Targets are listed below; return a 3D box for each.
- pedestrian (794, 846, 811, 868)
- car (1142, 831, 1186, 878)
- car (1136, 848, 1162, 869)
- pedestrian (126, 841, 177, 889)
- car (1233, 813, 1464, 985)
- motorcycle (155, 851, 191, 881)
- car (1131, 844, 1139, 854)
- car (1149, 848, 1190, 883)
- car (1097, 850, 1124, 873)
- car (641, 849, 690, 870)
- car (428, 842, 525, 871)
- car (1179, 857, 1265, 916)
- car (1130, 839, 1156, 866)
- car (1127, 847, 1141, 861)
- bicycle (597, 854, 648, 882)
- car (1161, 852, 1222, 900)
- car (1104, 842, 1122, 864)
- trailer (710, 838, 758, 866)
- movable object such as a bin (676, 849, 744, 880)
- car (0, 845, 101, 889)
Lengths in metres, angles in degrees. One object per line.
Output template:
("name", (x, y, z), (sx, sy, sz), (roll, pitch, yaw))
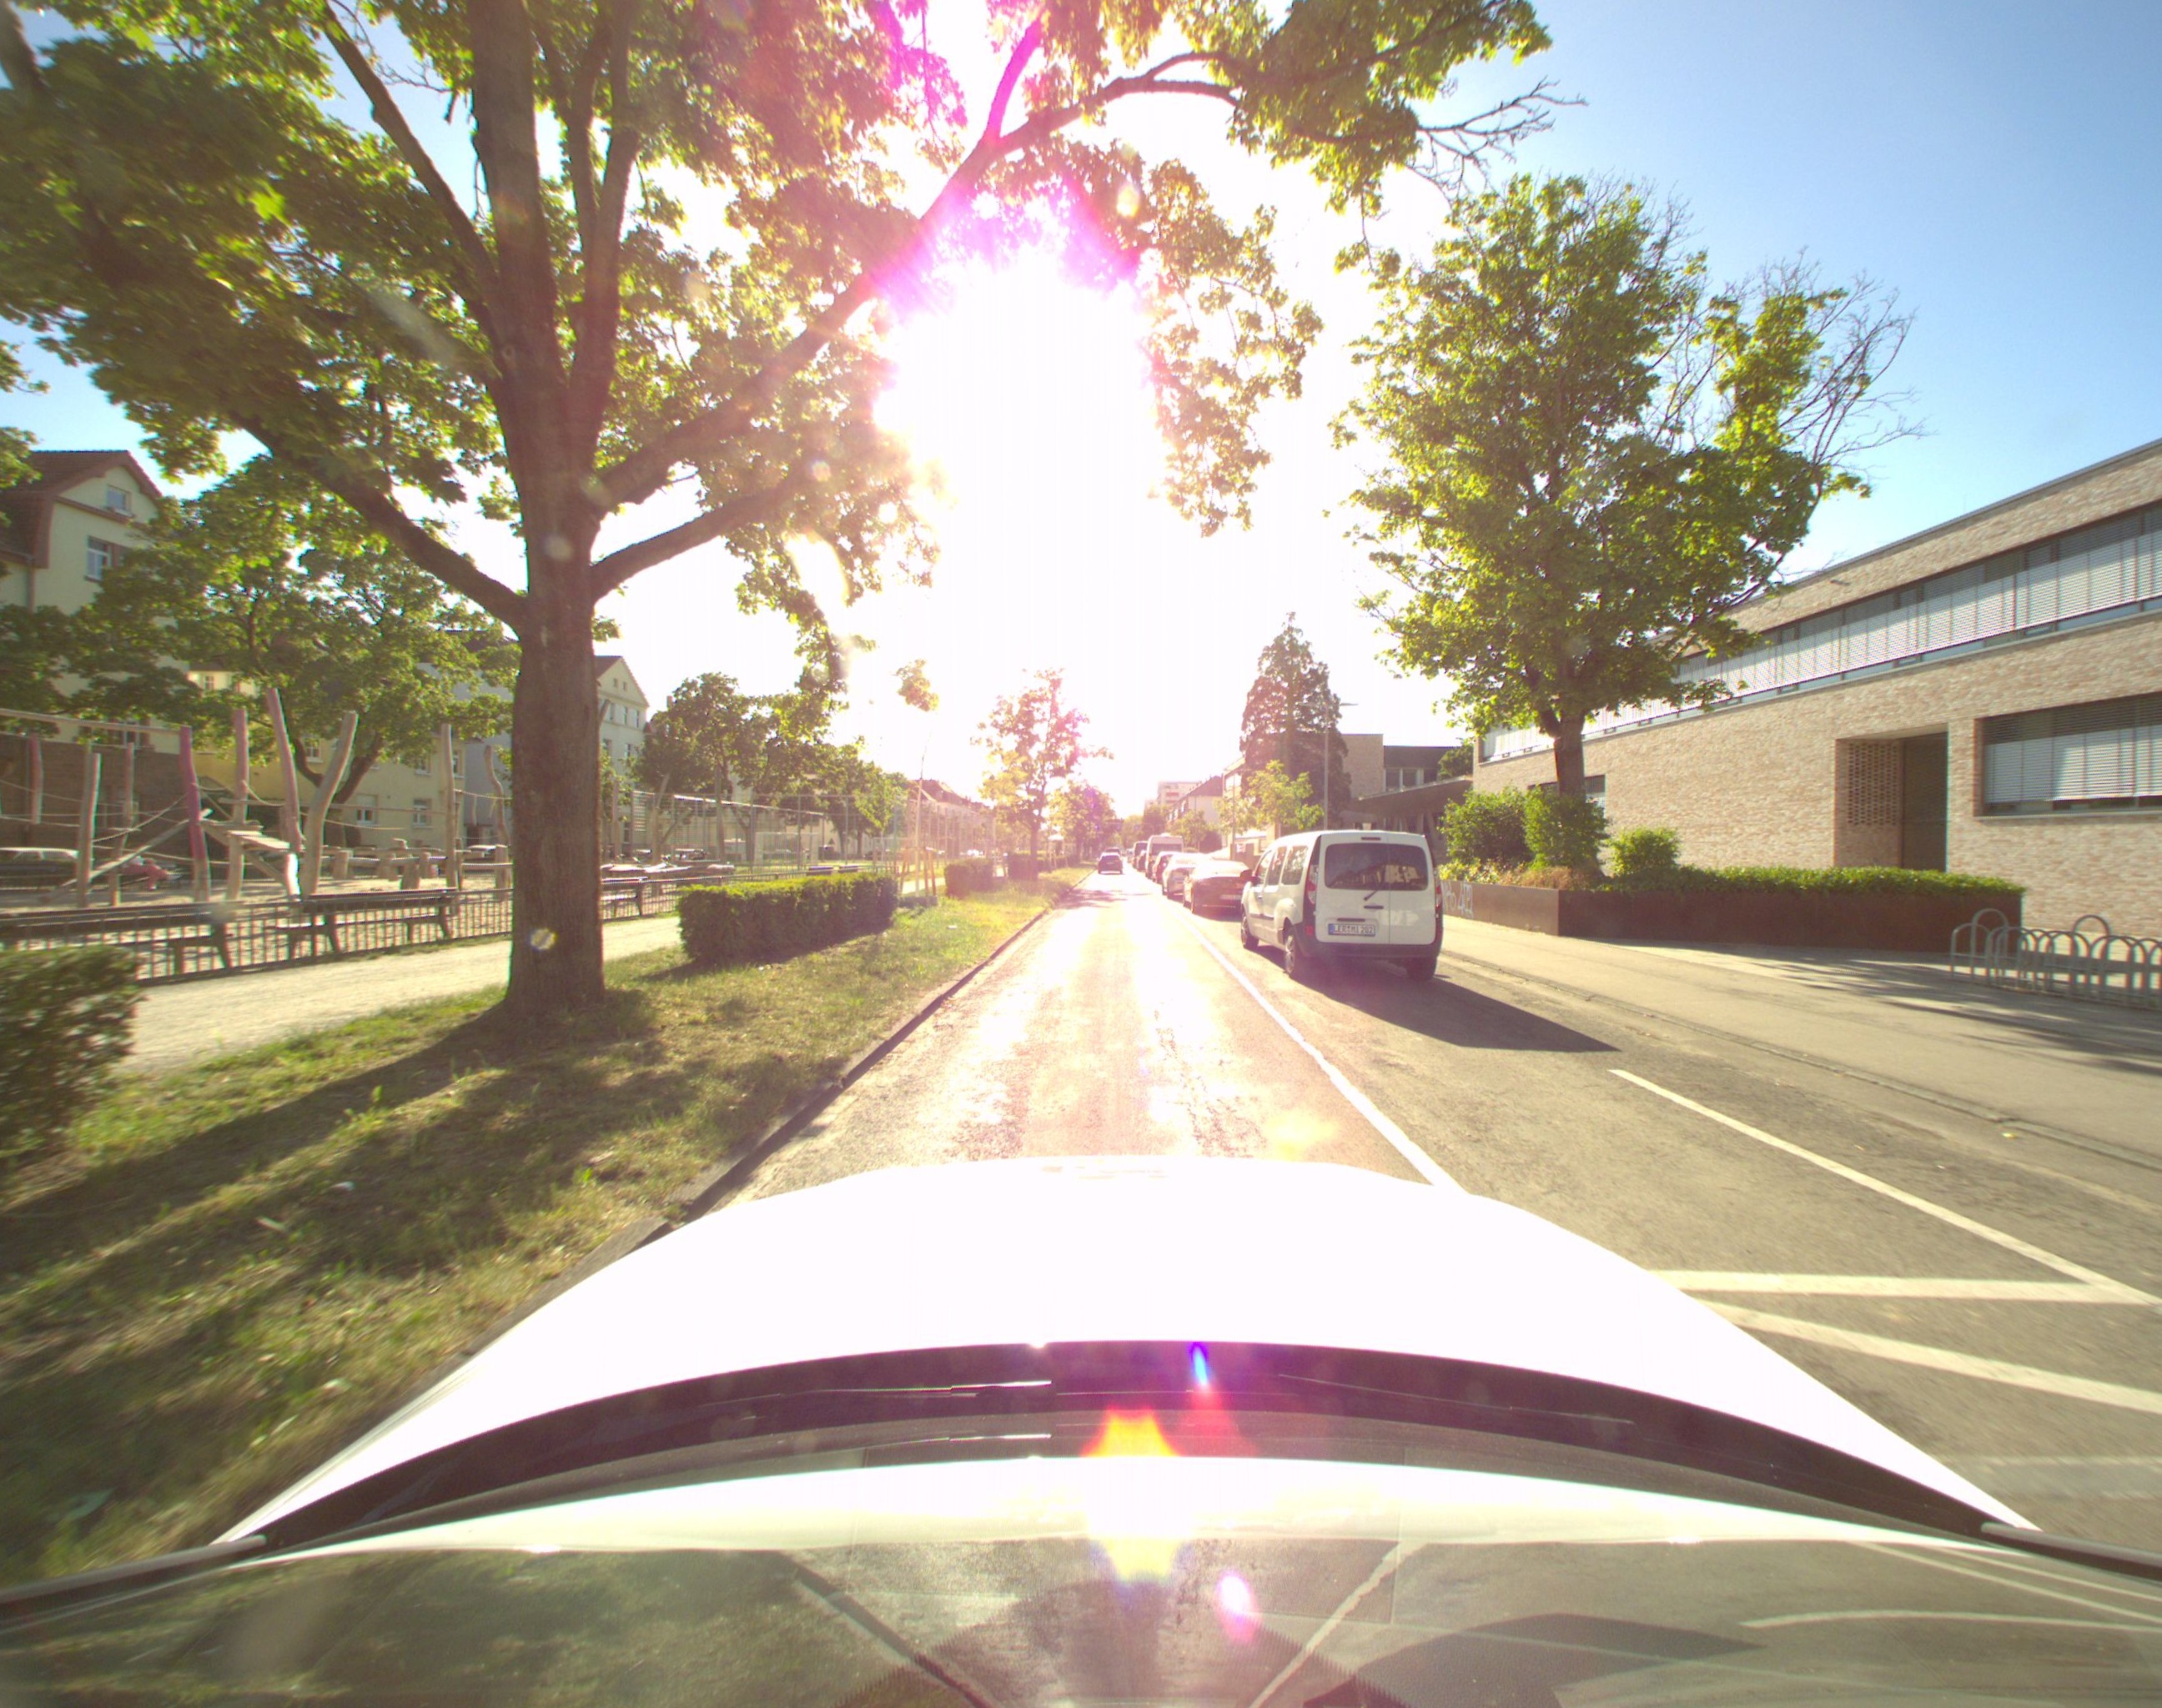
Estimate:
("pedestrian", (-16.579, 0.178, 48.518), (0.642, 1.318, 0.654), (1, 0, 31))
("car", (4.855, 0.030, 48.198), (2.232, 2.574, 5.436), (1, 0, 3))
("car", (5.491, 0.322, 65.830), (1.839, 1.640, 4.505), (0, 0, 2))
("pedestrian", (-25.705, 0.292, 22.520), (0.646, 1.318, 0.650), (1, 0, -1))
("car", (3.439, 0.488, 11.427), (1.801, 1.908, 4.462), (1, 1, 1))
("motorcycle", (-25.697, 0.347, 23.053), (0.699, 0.826, 0.284), (1, 0, 0))
("car", (13.963, -1.339, 209.798), (1.985, 2.430, 4.503), (3, 0, 3))
("car", (4.366, 0.533, 40.541), (1.614, 1.588, 3.592), (1, 1, 0))
("car", (2.138, 0.516, 58.331), (1.787, 1.510, 4.003), (1, 0, 3))
("car", (-36.525, 0.438, 71.765), (1.787, 1.777, 4.492), (1, 1, 3))
("car", (-37.109, 0.125, 50.189), (1.874, 1.651, 5.186), (1, 1, 3))
("car", (3.622, 0.787, 21.612), (1.695, 1.325, 4.131), (1, 0, 2))
("car", (5.884, -0.154, 77.954), (2.108, 2.515, 6.533), (0, 0, 1))
("car", (7.238, -0.052, 111.383), (1.786, 1.855, 4.419), (1, 1, 4))
("bicycle", (-18.481, 0.554, 32.842), (1.788, 1.107, 0.500), (1, 0, 0))
("car", (3.698, 0.681, 27.814), (1.694, 1.478, 4.176), (1, 0, 3))
("car", (3.283, -0.129, 83.531), (1.787, 2.122, 4.003), (1, 0, 3))
("trailer", (-36.273, -0.240, 85.225), (2.334, 2.870, 5.805), (1, 1, 2))
("movable object such as a bin", (-15.630, 0.429, 34.361), (2.324, 1.242, 1.056), (0, 1, -2))
("car", (-38.332, 0.447, 29.041), (1.787, 1.510, 4.003), (1, 1, 2))
